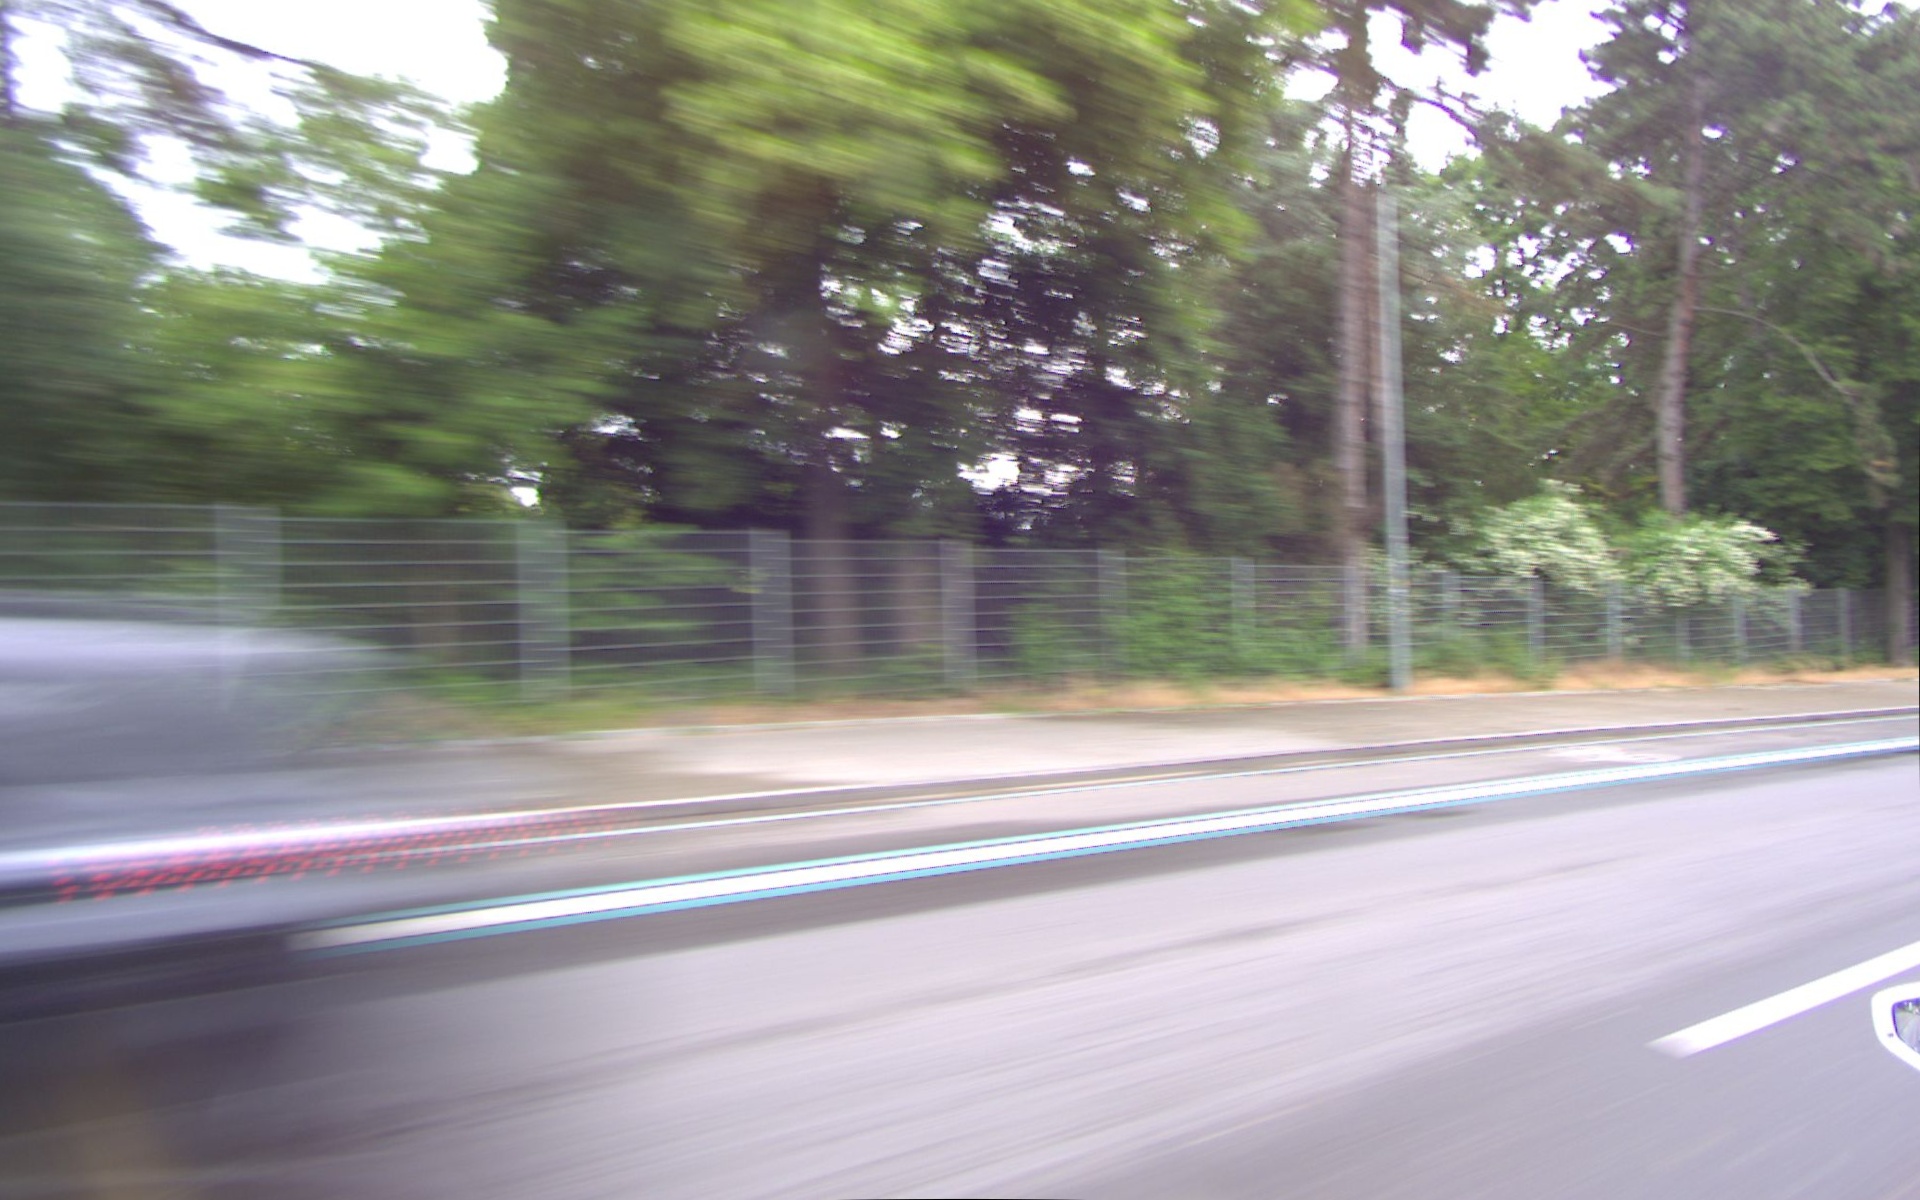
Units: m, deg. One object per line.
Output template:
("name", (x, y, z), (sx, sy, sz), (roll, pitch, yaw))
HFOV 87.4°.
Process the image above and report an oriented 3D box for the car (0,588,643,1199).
("car", (-2.874, 0.692, 1.868), (4.100, 1.456, 1.752), (1, 0, -29))
